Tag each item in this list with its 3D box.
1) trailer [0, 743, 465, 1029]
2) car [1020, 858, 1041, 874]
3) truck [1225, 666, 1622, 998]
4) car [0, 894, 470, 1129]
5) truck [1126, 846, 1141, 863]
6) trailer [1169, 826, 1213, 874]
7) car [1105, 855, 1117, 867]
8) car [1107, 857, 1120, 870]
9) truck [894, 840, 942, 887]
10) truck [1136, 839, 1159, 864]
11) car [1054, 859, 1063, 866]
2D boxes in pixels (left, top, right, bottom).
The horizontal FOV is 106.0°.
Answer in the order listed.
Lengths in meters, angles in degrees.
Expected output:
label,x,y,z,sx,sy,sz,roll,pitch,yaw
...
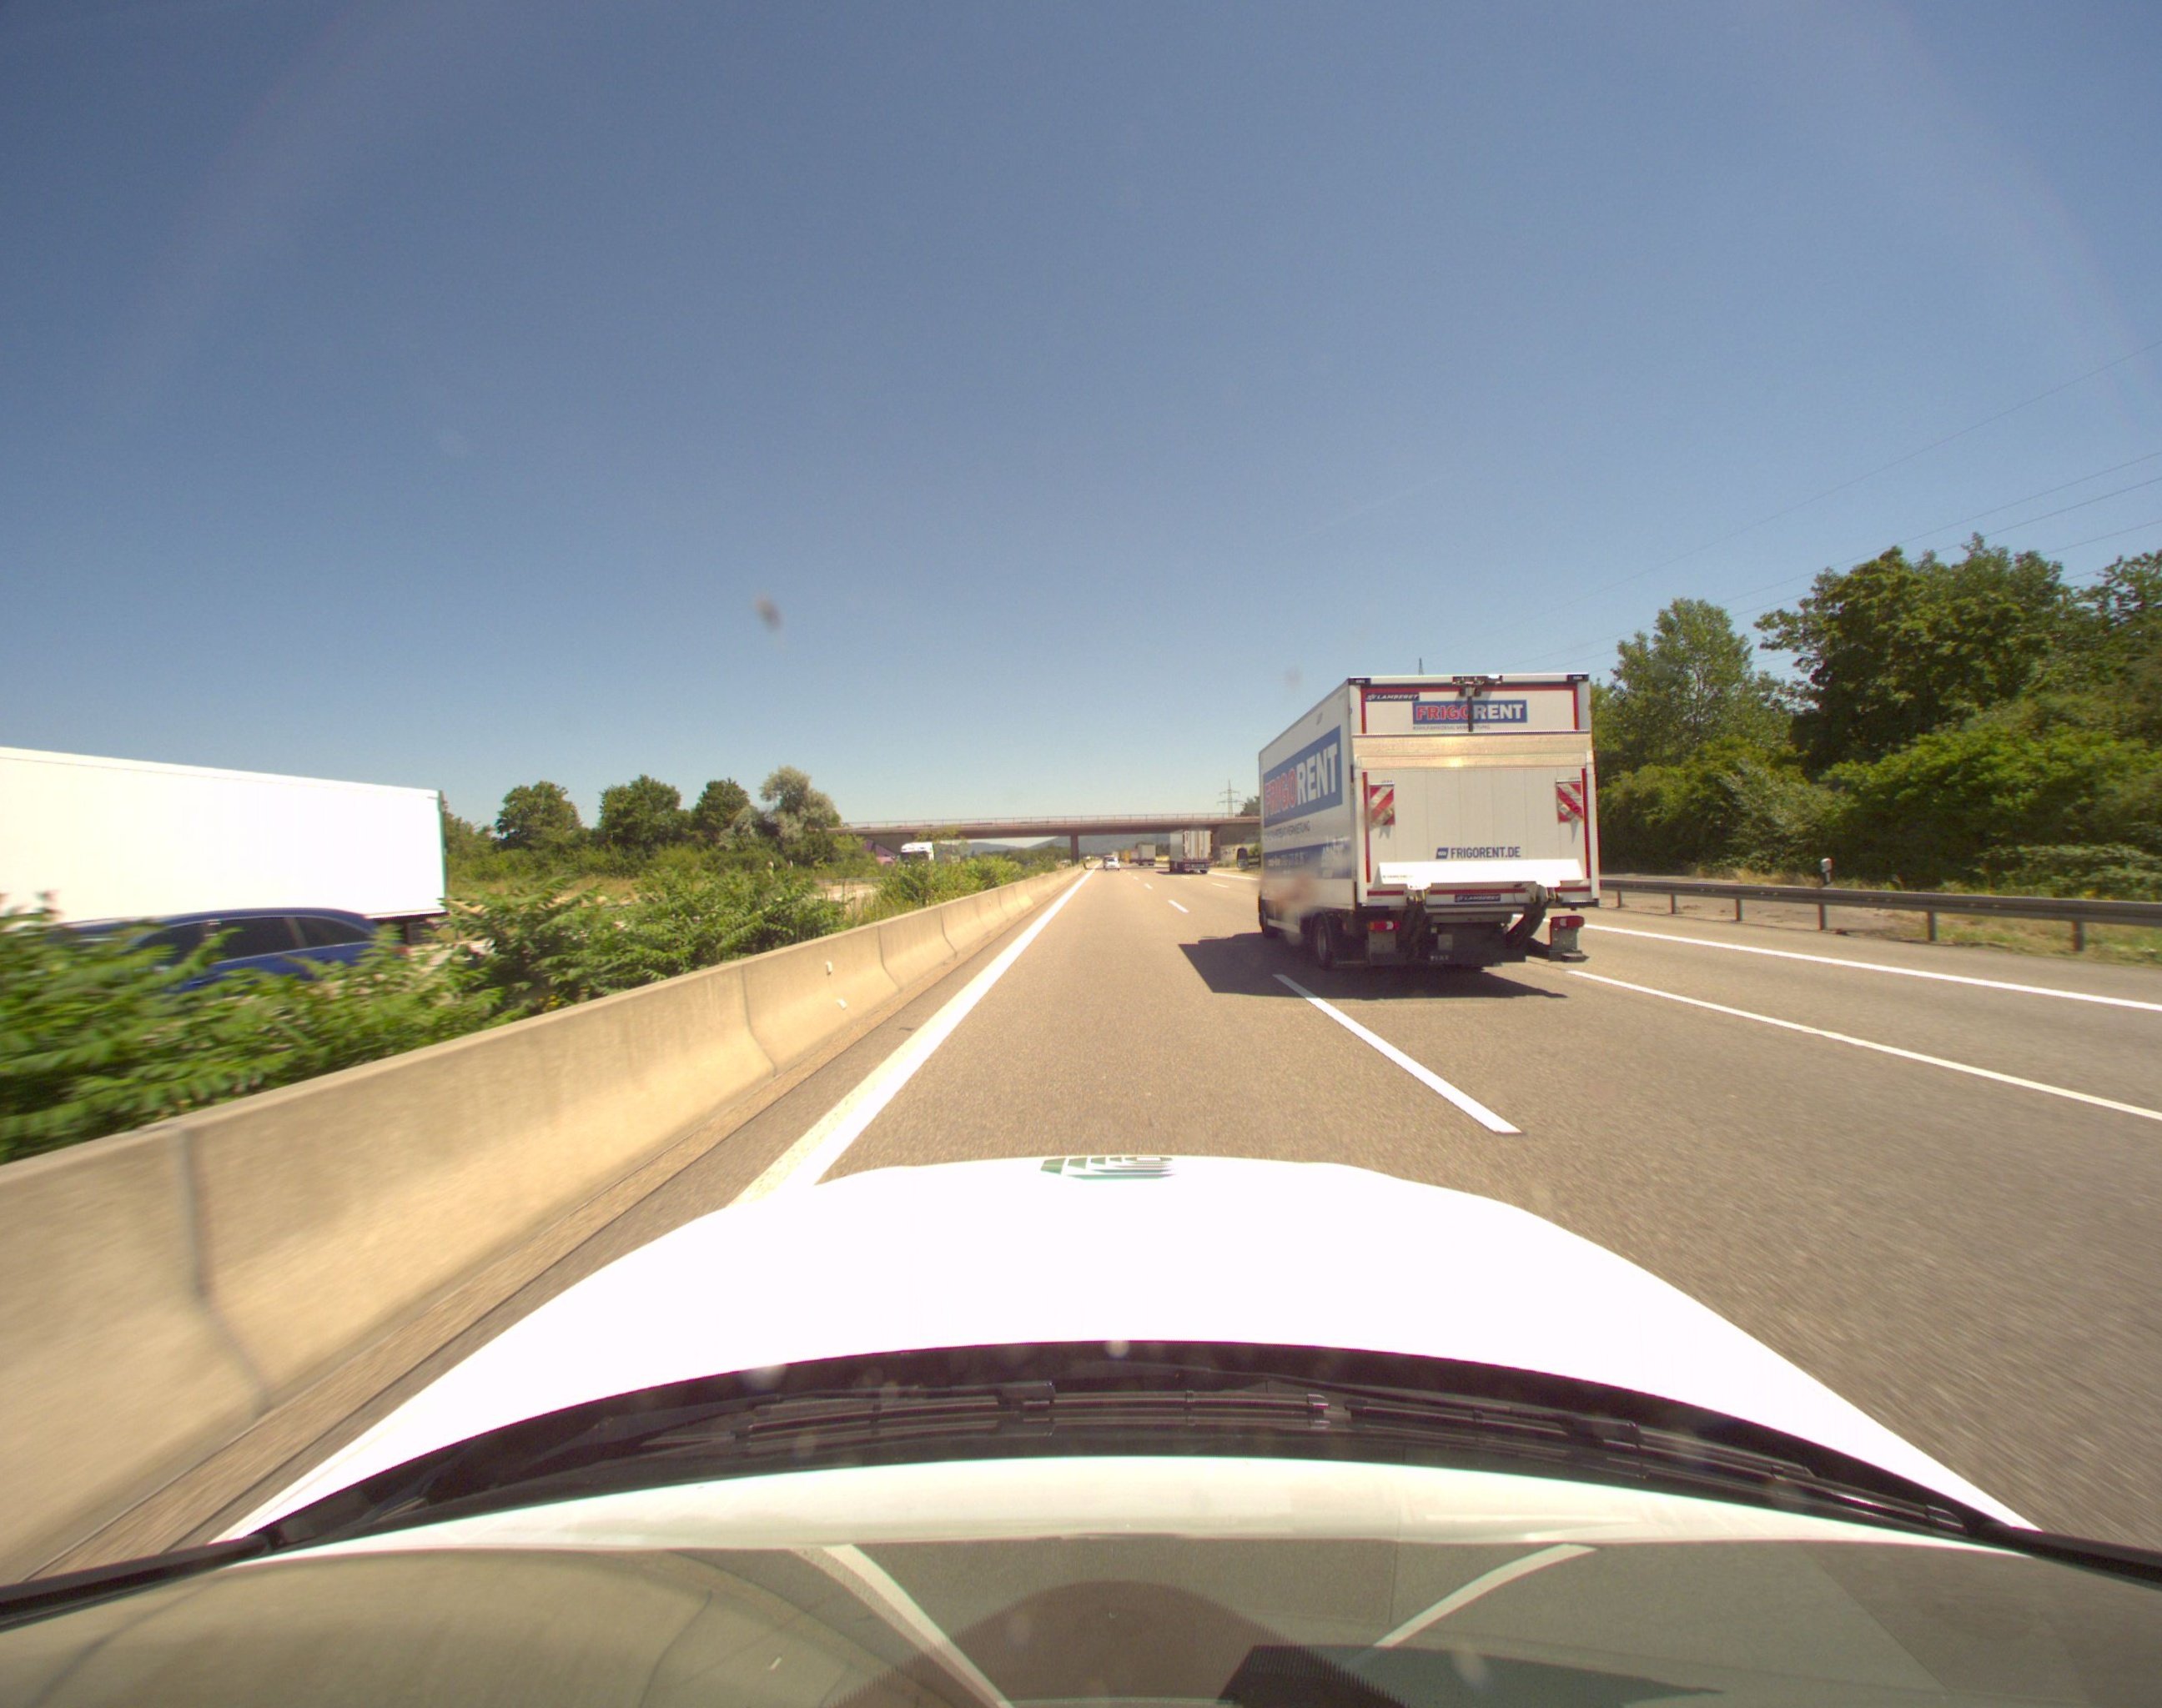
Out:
label,x,y,z,sx,sy,sz,roll,pitch,yaw
trailer,-16.498,0.513,13.243,2.685,4.014,12.970,-3,0,1
car,-5.946,1.440,96.144,1.901,1.737,4.124,-3,0,2
truck,4.233,-0.204,12.430,2.772,3.373,8.129,-1,0,1
car,-8.336,1.312,8.117,1.586,1.620,3.676,-2,0,2
truck,14.286,0.121,223.320,3.507,4.416,14.596,-3,0,2
trailer,10.504,-0.334,79.105,2.784,4.164,13.962,-1,0,2
car,4.844,1.163,130.485,1.753,1.850,4.003,-2,0,3
car,3.998,1.099,99.568,1.601,1.467,4.003,-2,0,3
truck,-14.736,0.838,74.220,2.824,3.938,5.826,-4,0,1
truck,12.617,-0.379,155.465,3.507,4.416,14.596,-3,0,2
car,-5.676,2.105,204.710,1.798,1.673,4.002,-3,0,2
